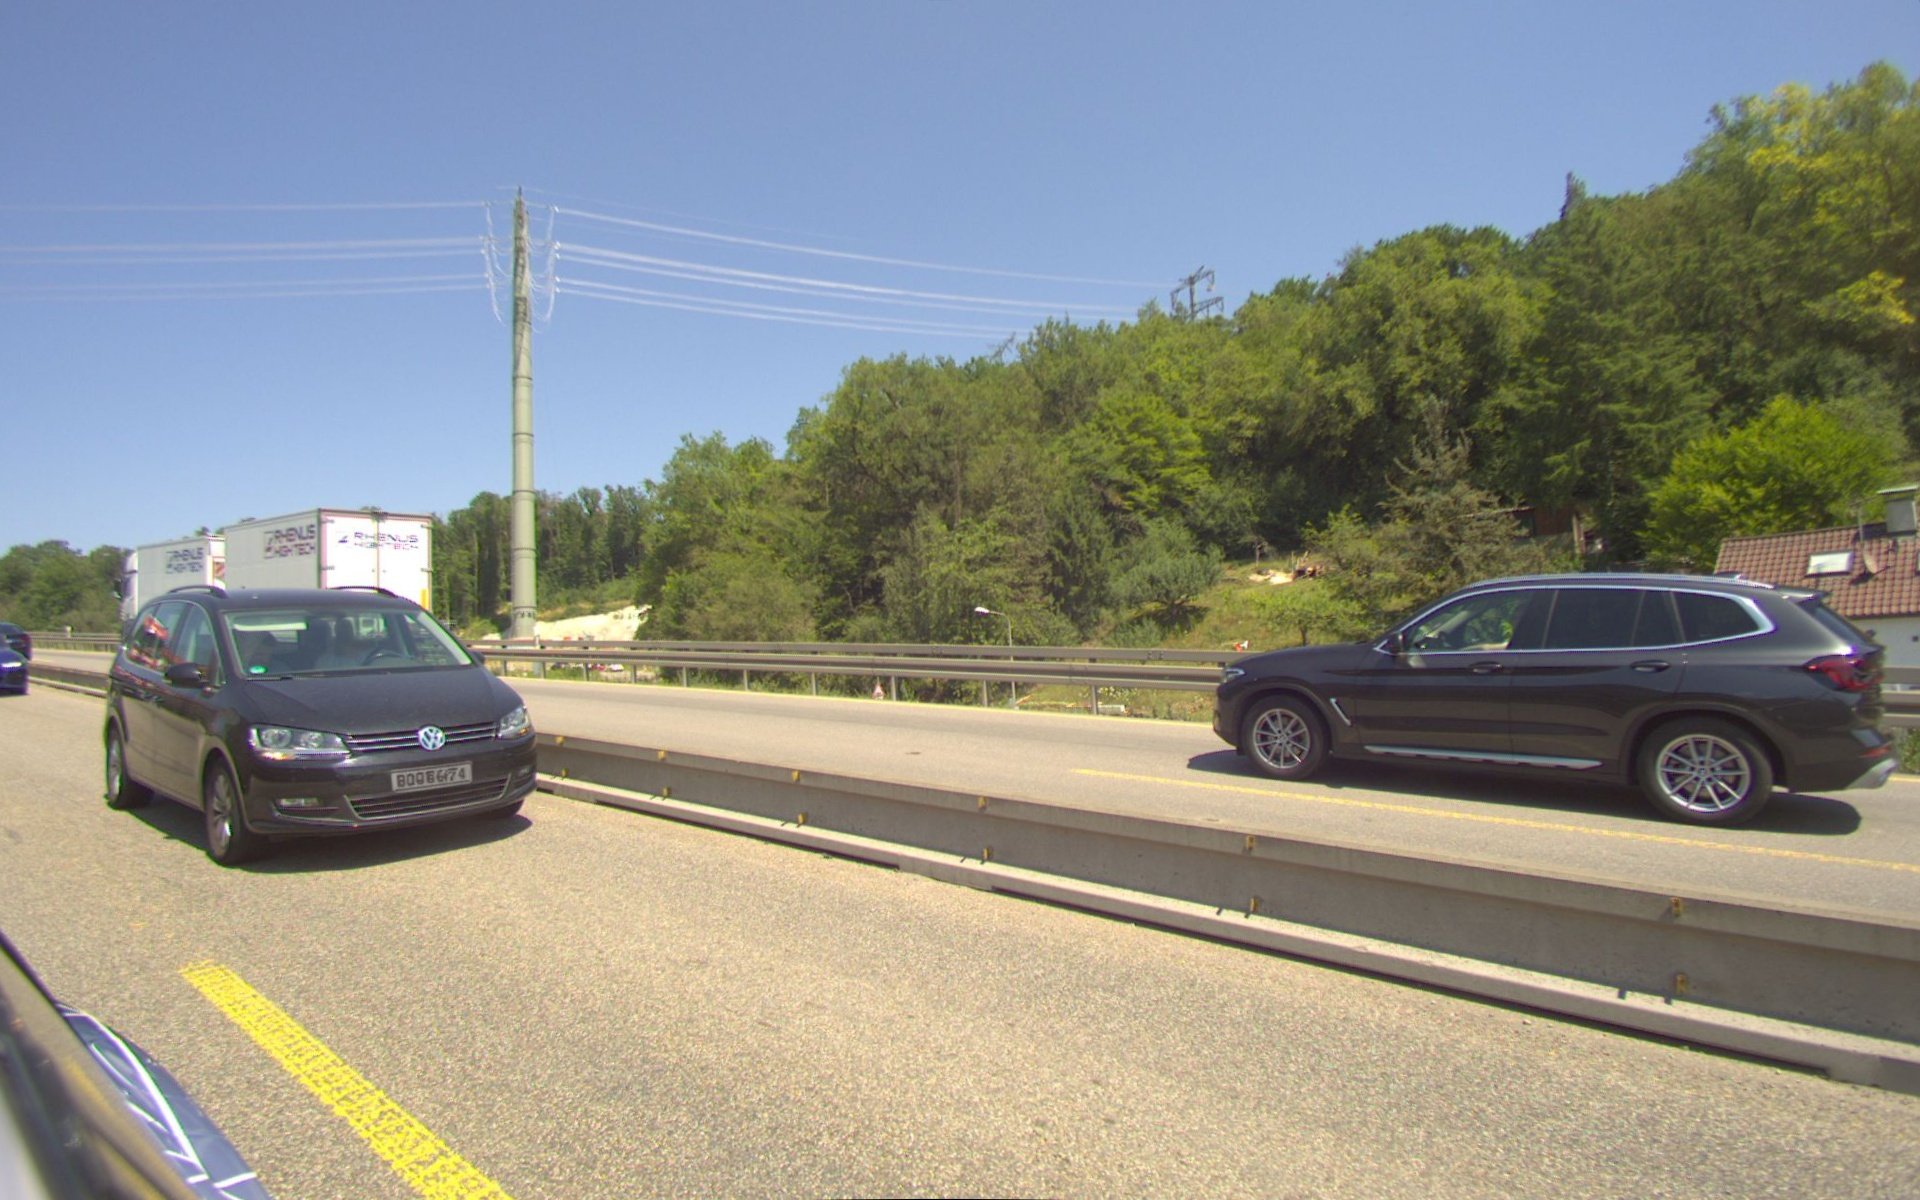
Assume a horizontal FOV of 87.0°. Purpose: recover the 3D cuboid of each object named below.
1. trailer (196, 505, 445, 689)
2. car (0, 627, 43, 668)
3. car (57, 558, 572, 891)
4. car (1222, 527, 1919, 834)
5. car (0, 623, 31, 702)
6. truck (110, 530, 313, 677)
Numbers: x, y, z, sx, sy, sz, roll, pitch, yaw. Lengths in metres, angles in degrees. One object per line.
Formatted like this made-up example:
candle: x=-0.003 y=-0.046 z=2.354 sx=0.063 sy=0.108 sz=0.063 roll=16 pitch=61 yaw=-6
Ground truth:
trailer: x=-17.349 y=0.015 z=27.117 sx=9.008 sy=4.197 sz=2.974 roll=-1 pitch=-1 yaw=39
car: x=-36.553 y=1.800 z=38.513 sx=4.615 sy=1.490 sz=1.764 roll=-2 pitch=-1 yaw=39
car: x=-5.144 y=0.715 z=7.659 sx=5.300 sy=1.719 sz=1.837 roll=-2 pitch=-2 yaw=41
car: x=4.594 y=0.469 z=7.813 sx=4.659 sy=1.755 sz=1.886 roll=0 pitch=0 yaw=41
car: x=-21.104 y=1.292 z=21.083 sx=4.779 sy=1.567 sz=1.873 roll=-2 pitch=-2 yaw=38
truck: x=-24.885 y=0.235 z=33.341 sx=10.535 sy=4.194 sz=2.948 roll=-2 pitch=-2 yaw=40
